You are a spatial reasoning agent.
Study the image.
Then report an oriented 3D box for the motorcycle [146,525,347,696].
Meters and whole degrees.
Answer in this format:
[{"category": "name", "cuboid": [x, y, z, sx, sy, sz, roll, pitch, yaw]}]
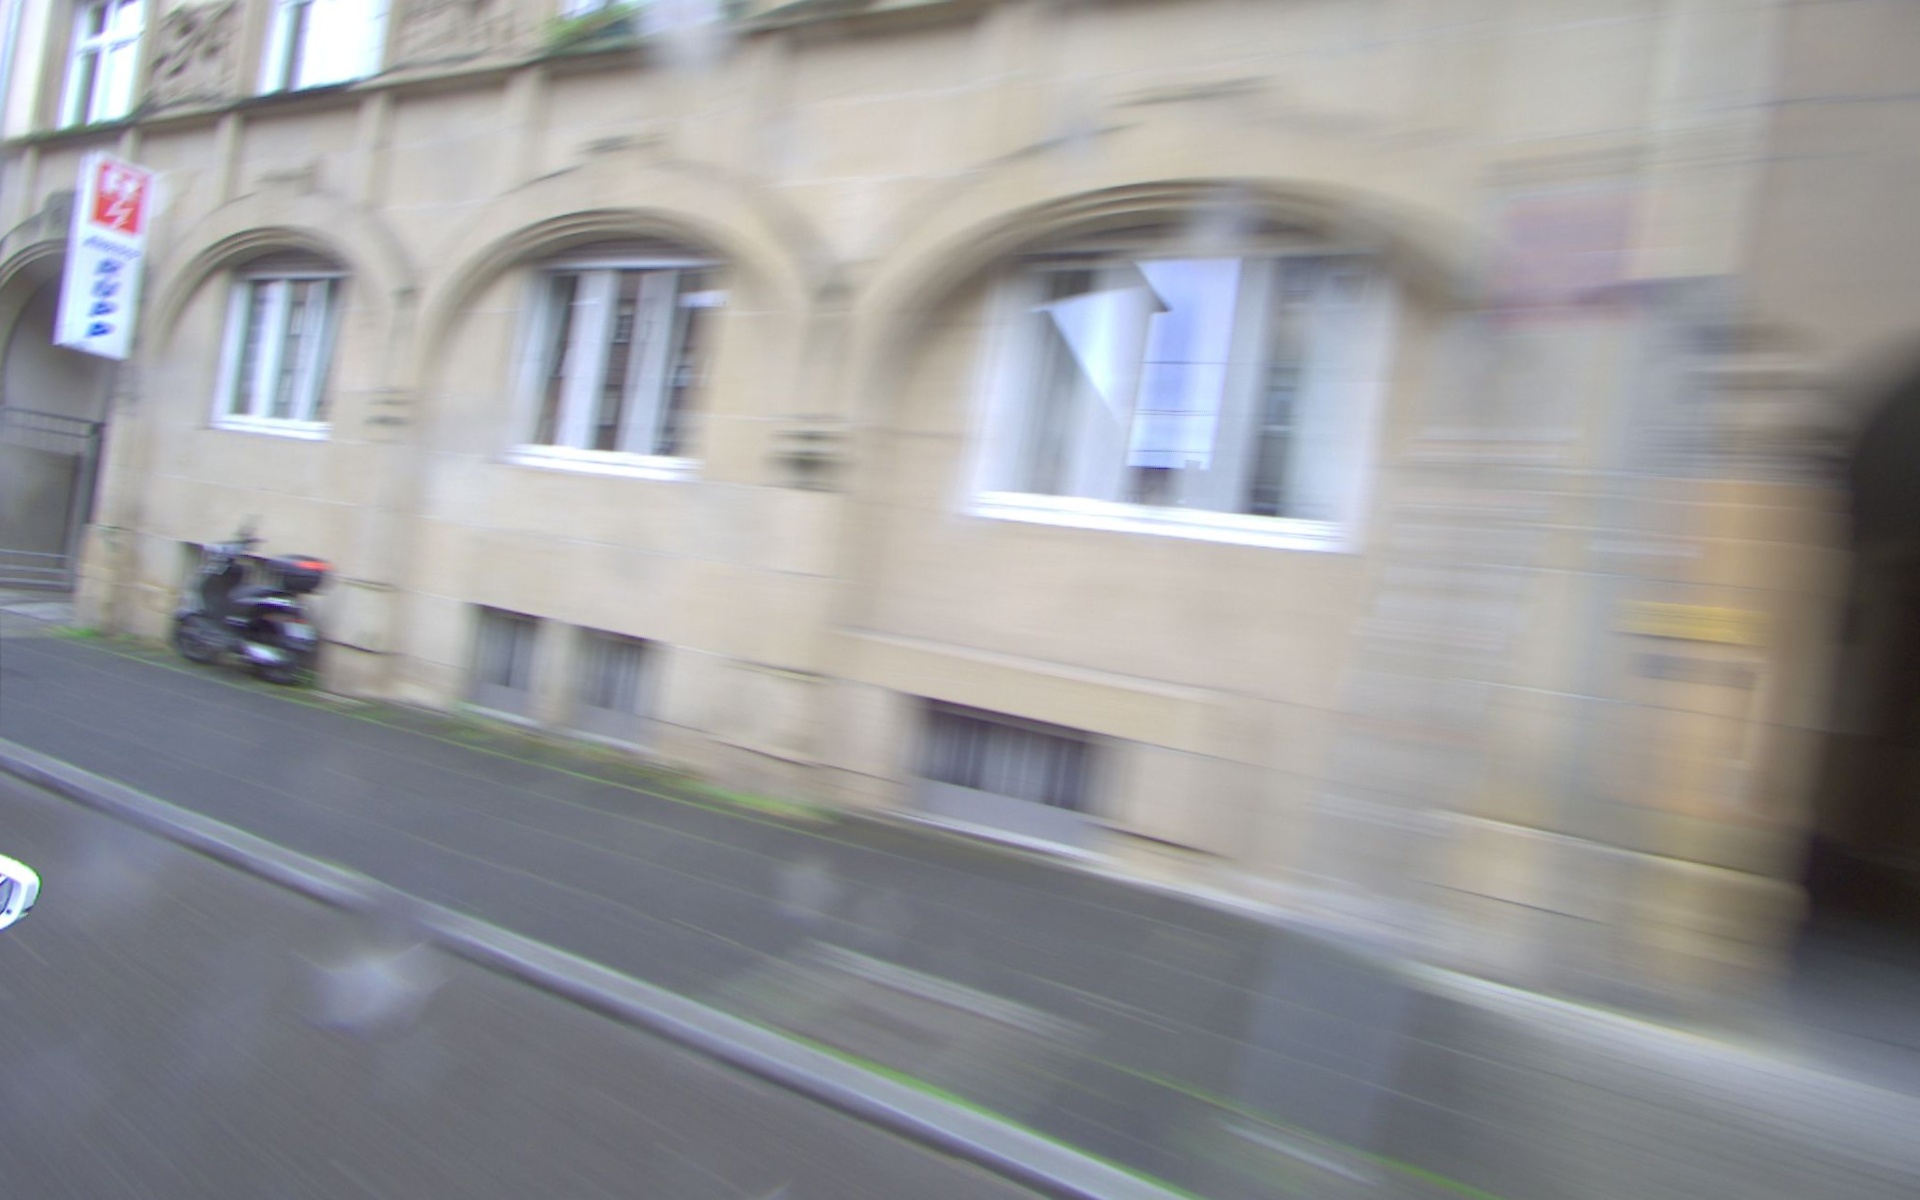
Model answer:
[{"category": "motorcycle", "cuboid": [-6.257, 0.059, 8.801, 1.747, 1.255, 0.690, 7, 5, 27]}]
